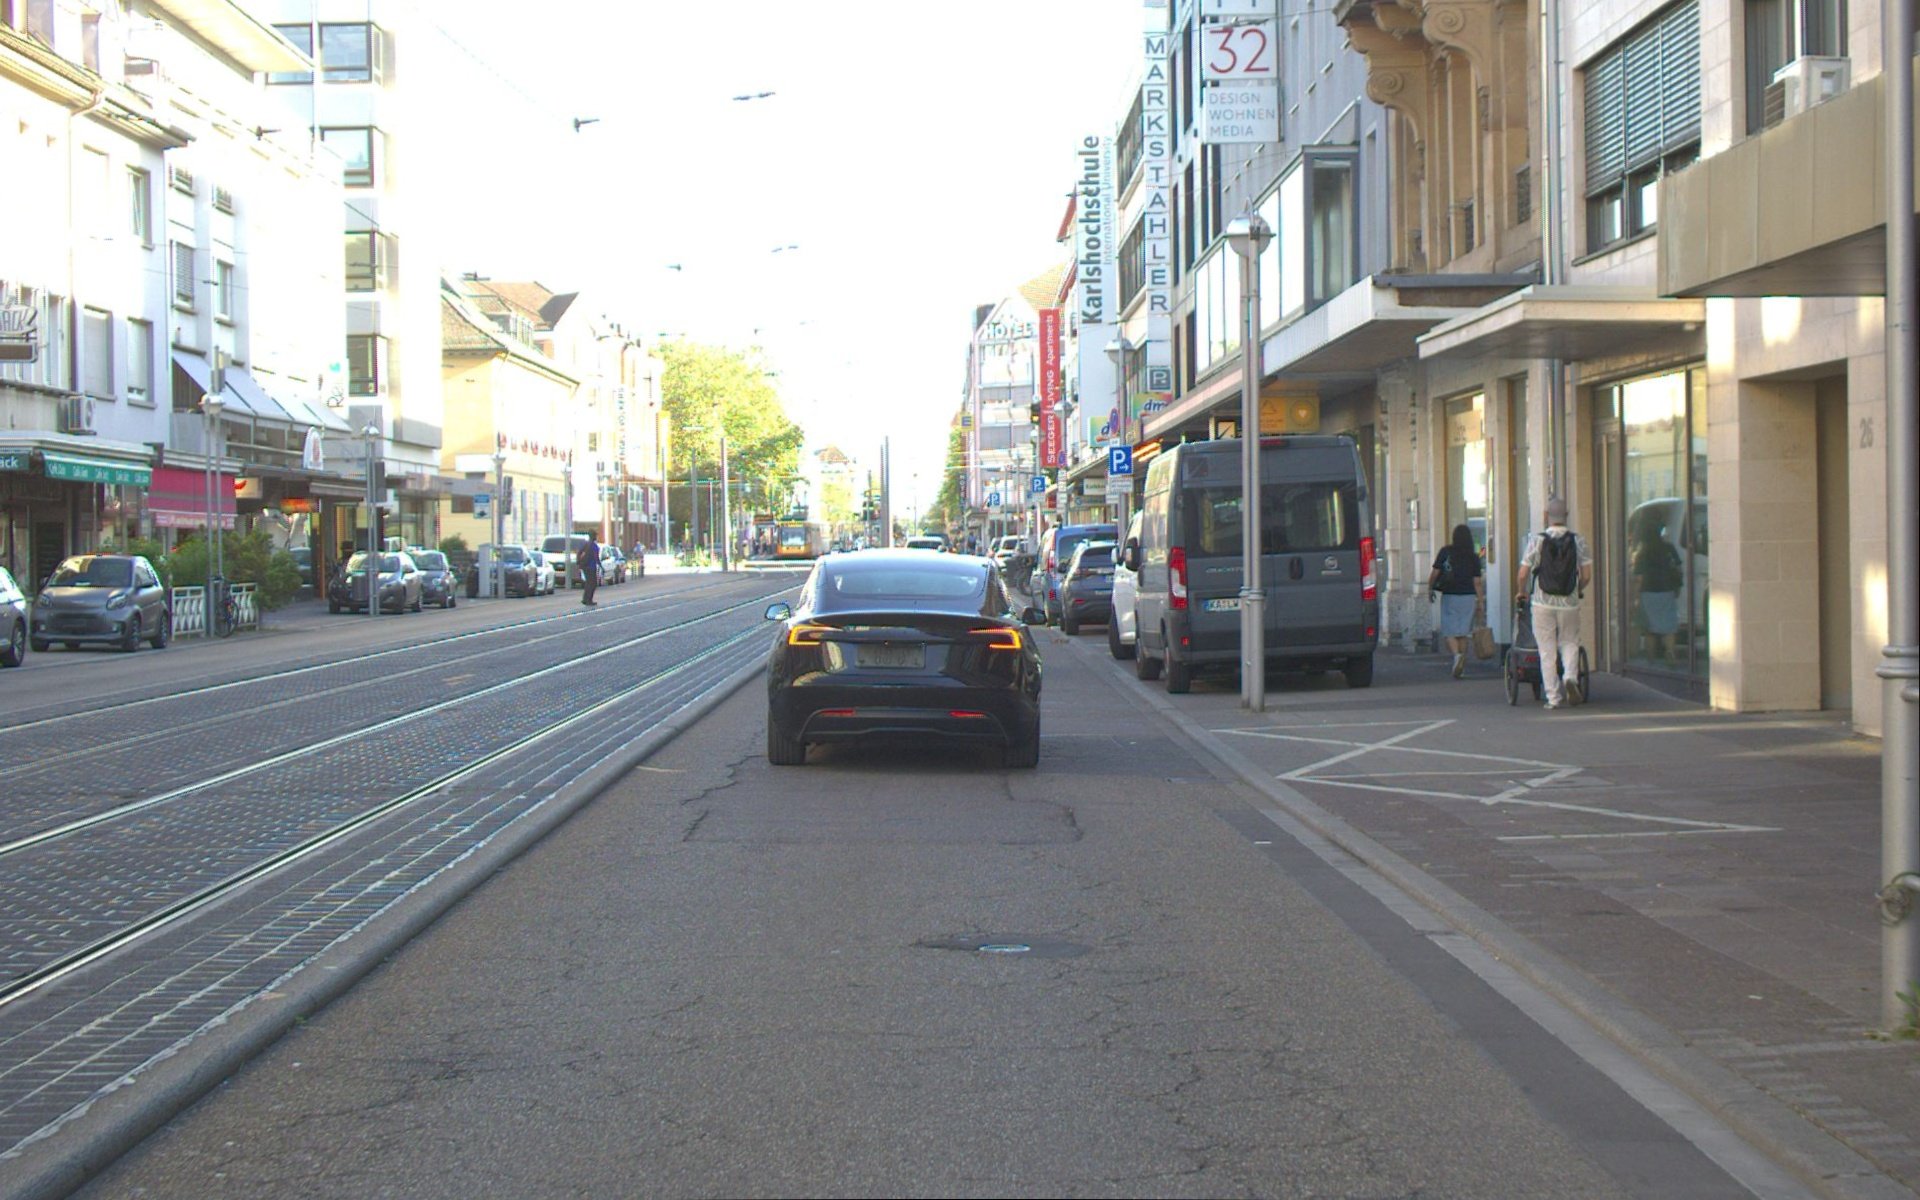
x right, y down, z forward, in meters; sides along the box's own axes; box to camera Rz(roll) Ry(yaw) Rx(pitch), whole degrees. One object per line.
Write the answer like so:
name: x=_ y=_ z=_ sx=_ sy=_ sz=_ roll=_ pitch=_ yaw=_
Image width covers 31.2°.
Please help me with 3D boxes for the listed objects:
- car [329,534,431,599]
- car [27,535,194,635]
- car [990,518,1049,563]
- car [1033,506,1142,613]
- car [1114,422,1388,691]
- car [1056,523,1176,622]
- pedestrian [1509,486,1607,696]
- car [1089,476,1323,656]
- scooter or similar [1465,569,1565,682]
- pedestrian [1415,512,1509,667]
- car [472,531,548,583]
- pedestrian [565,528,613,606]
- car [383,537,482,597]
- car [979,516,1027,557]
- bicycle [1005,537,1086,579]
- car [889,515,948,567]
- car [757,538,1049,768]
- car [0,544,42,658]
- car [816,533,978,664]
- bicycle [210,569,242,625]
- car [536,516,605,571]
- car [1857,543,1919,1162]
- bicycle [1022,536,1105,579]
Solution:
car: x=-14.141 y=-0.845 z=84.008 sx=1.770 sy=1.503 sz=3.864 roll=-1 pitch=1 yaw=1
car: x=-13.760 y=-0.270 z=55.877 sx=1.675 sy=1.540 sz=3.743 roll=1 pitch=1 yaw=2
car: x=2.104 y=-2.114 z=122.869 sx=1.993 sy=1.537 sz=4.000 roll=-1 pitch=1 yaw=0
car: x=2.262 y=-0.762 z=61.984 sx=1.821 sy=1.864 sz=3.754 roll=0 pitch=2 yaw=0
car: x=2.895 y=-0.484 z=35.432 sx=2.171 sy=2.453 sz=5.362 roll=-3 pitch=1 yaw=-1
car: x=2.502 y=-0.476 z=55.849 sx=1.751 sy=1.494 sz=3.754 roll=-2 pitch=2 yaw=0
pedestrian: x=5.012 y=-0.082 z=28.839 sx=0.556 sy=1.708 sz=0.955 roll=-3 pitch=1 yaw=-1
car: x=2.931 y=-0.450 z=41.996 sx=2.158 sy=1.920 sz=4.618 roll=-4 pitch=2 yaw=-3
scooter or similar: x=4.888 y=0.213 z=30.341 sx=0.593 sy=0.933 sz=1.299 roll=-3 pitch=1 yaw=-2
pedestrian: x=5.137 y=-0.115 z=35.205 sx=0.769 sy=1.538 sz=0.804 roll=-3 pitch=1 yaw=0
car: x=-14.027 y=-1.364 z=107.324 sx=1.718 sy=1.566 sz=3.849 roll=-1 pitch=1 yaw=2
pedestrian: x=-8.921 y=-0.800 z=82.630 sx=0.772 sy=1.842 sz=0.827 roll=-1 pitch=1 yaw=30
car: x=-13.785 y=-0.877 z=90.081 sx=1.770 sy=1.503 sz=3.860 roll=-1 pitch=1 yaw=3
car: x=1.881 y=-2.790 z=151.363 sx=1.993 sy=1.747 sz=4.000 roll=-1 pitch=1 yaw=0
bicycle: x=2.337 y=-1.148 z=94.059 sx=2.159 sy=1.093 sz=0.686 roll=-1 pitch=1 yaw=-2
car: x=-1.508 y=-2.169 z=126.352 sx=2.085 sy=1.864 sz=3.754 roll=0 pitch=2 yaw=0
car: x=-0.364 y=0.304 z=24.333 sx=1.869 sy=1.422 sz=4.365 roll=0 pitch=2 yaw=0
car: x=-13.834 y=0.015 z=45.842 sx=1.993 sy=1.526 sz=4.757 roll=0 pitch=0 yaw=-1
car: x=-0.741 y=-0.039 z=39.887 sx=1.761 sy=1.414 sz=4.355 roll=-1 pitch=1 yaw=-1
bicycle: x=-13.392 y=-0.062 z=62.730 sx=0.368 sy=0.999 sz=1.605 roll=-1 pitch=1 yaw=-18
car: x=-14.313 y=-2.108 z=126.630 sx=2.009 sy=1.954 sz=4.725 roll=-1 pitch=1 yaw=0
car: x=3.139 y=0.615 z=6.415 sx=1.745 sy=1.457 sz=4.296 roll=-1 pitch=1 yaw=0
bicycle: x=2.802 y=-1.152 z=93.172 sx=2.159 sy=1.093 sz=0.686 roll=-1 pitch=1 yaw=-2
